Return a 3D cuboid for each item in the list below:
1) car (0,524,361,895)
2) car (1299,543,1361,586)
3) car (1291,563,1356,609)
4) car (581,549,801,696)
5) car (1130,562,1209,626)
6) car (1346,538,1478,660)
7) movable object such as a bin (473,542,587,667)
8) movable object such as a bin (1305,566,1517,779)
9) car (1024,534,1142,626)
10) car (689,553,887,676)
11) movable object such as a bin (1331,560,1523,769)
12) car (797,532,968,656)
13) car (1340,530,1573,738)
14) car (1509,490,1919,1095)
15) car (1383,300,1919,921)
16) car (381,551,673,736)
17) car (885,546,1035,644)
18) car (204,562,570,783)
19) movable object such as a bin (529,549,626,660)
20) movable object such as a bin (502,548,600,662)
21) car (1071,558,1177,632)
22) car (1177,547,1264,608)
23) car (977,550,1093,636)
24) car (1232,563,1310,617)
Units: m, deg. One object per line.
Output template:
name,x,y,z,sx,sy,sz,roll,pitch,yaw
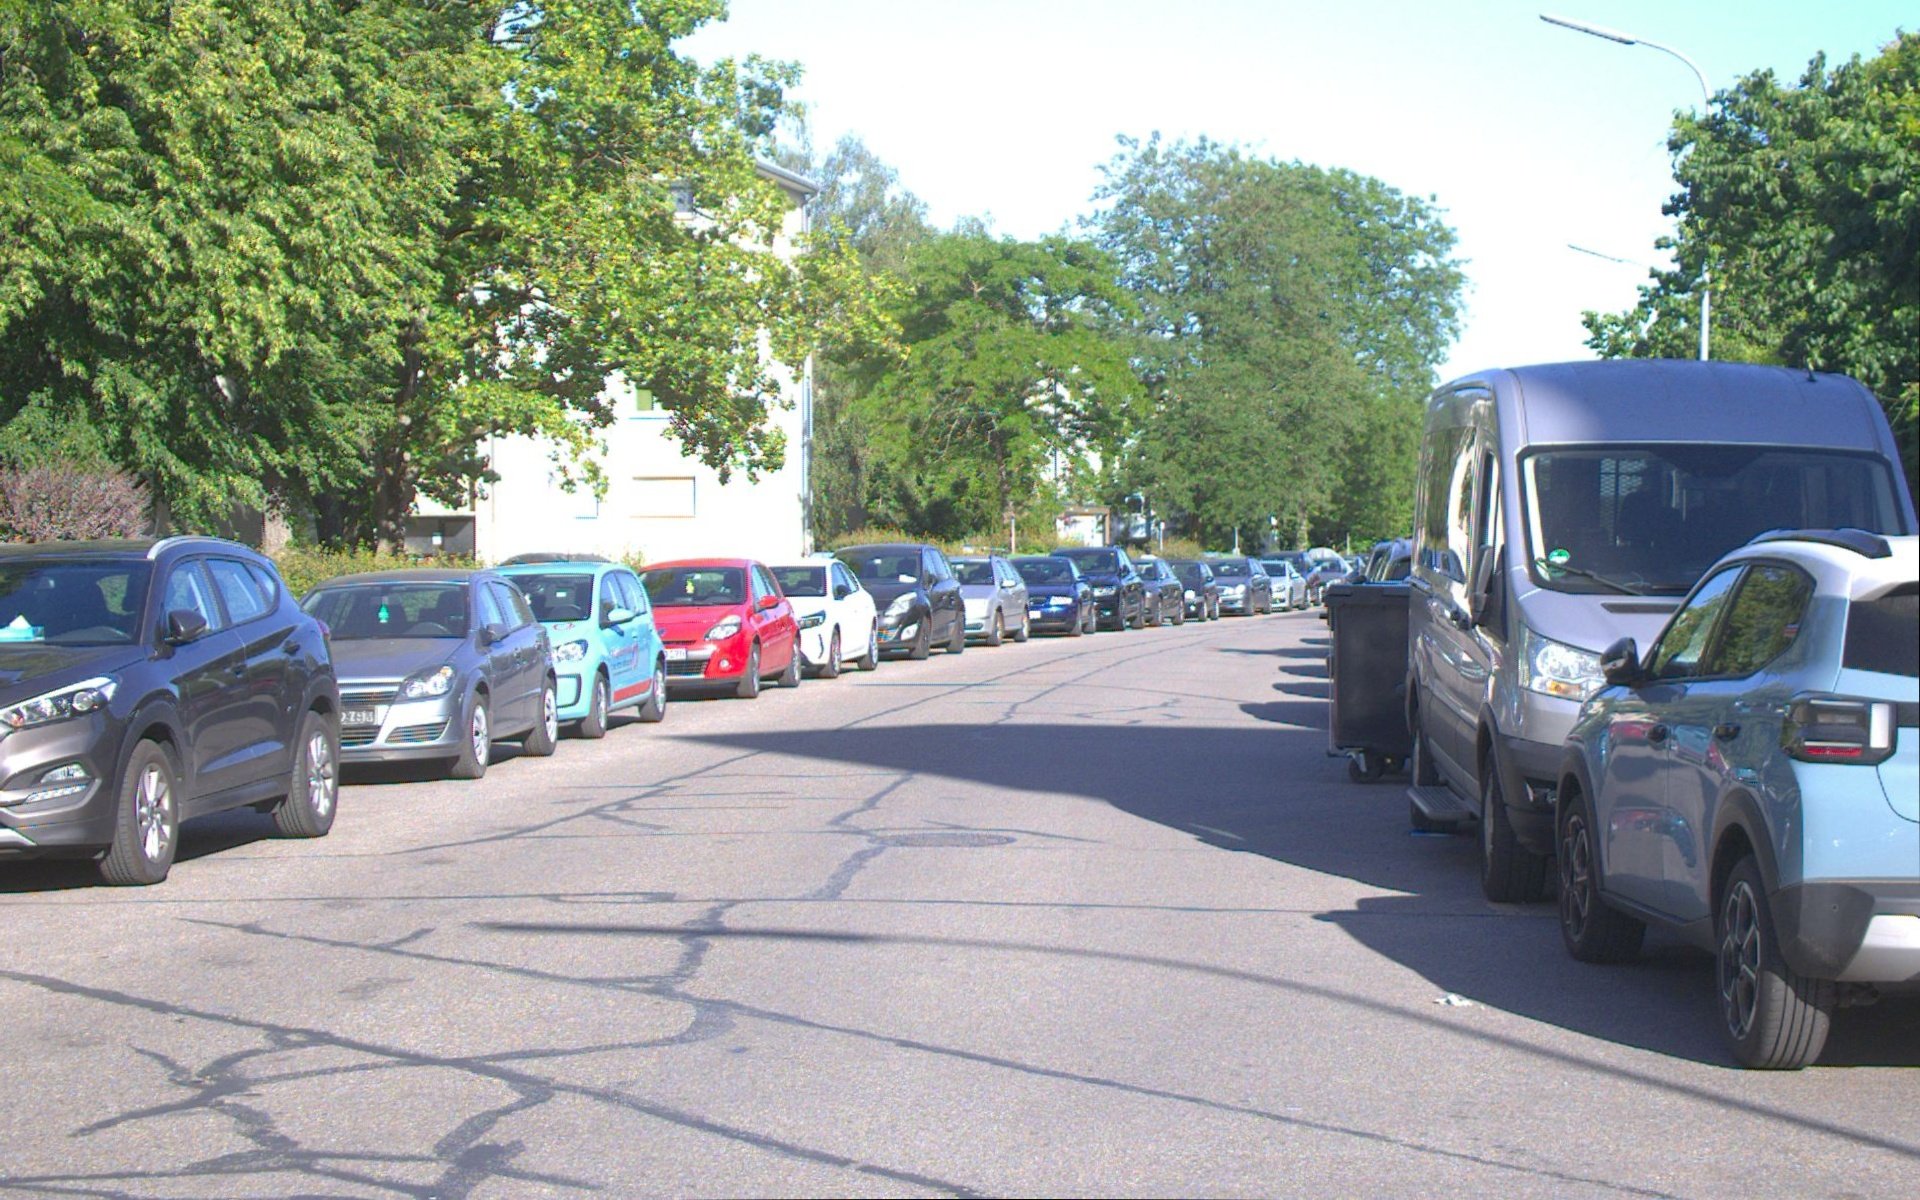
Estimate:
car,-4.462,0.445,17.201,1.748,1.612,4.362,0,1,6
car,12.144,-1.173,112.780,1.510,1.324,3.465,-2,0,14
car,11.423,-0.455,107.791,1.510,1.377,3.465,-2,0,14
car,-2.833,0.216,36.899,1.671,1.469,3.677,-1,0,6
car,4.855,-0.153,79.245,1.390,1.408,3.124,-2,0,11
car,6.359,-0.039,48.423,1.730,1.613,4.232,1,1,7
movable object such as a bin,-5.241,0.045,41.952,1.111,1.493,1.408,0,1,5
movable object such as a bin,2.972,0.464,22.544,1.270,1.309,1.122,-1,2,12
car,2.403,-0.393,66.365,1.661,1.682,4.047,-2,0,10
car,-2.072,0.155,42.368,1.671,1.416,3.900,-1,0,9
movable object such as a bin,3.233,0.425,23.684,1.229,1.392,1.169,0,0,12
car,-1.056,-0.100,49.087,1.671,1.661,4.404,-1,0,9
car,4.332,0.239,30.526,1.810,1.658,4.461,2,1,6
car,3.161,0.507,11.623,1.909,1.661,4.375,0,1,0
car,3.380,0.016,16.877,2.105,2.478,5.855,1,1,3
car,-3.676,0.335,29.784,1.671,1.469,3.677,-1,0,6
car,0.035,-0.103,55.192,1.661,1.481,4.051,-2,0,10
car,-4.025,0.463,24.771,1.670,1.432,3.999,-1,0,4
movable object such as a bin,-4.992,0.045,44.921,0.988,1.414,1.314,0,1,7
movable object such as a bin,-5.172,0.058,43.594,0.988,1.414,1.314,0,1,5
car,3.431,-0.120,71.324,1.661,1.434,3.758,-2,0,10
car,6.522,-0.571,85.747,1.510,1.446,3.688,-2,0,14
car,1.361,-0.141,60.792,1.660,1.422,4.048,-2,0,7
car,8.341,-0.270,92.045,1.510,1.359,3.465,-2,0,14
